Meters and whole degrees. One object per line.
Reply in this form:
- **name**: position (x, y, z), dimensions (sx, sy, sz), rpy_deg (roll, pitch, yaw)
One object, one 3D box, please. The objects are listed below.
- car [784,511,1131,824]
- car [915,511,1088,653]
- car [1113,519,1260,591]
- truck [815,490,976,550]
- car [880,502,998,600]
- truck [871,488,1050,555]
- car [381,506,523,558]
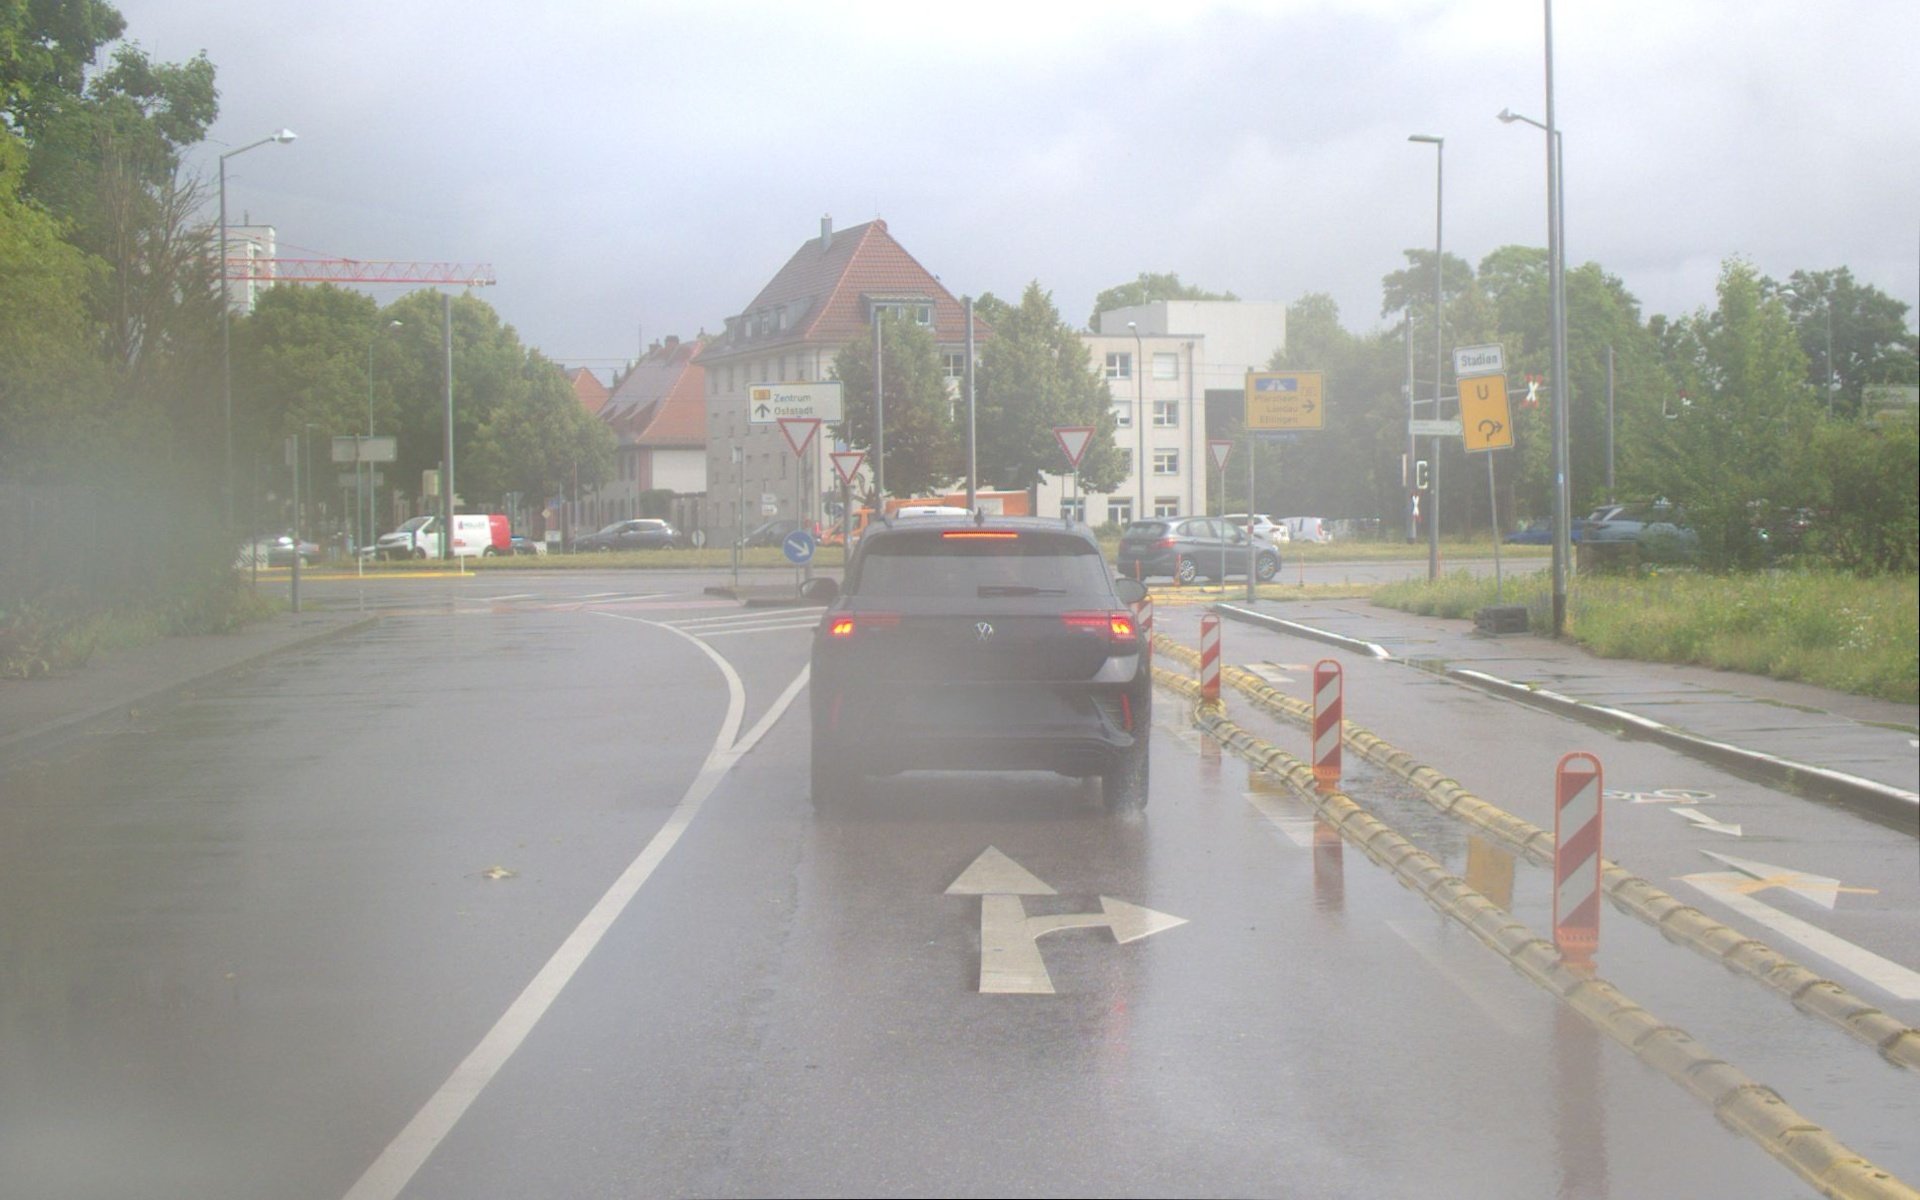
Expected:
- **car**: position (-0.105, 0.311, 19.171), dimensions (1.708, 1.568, 3.683), rpy_deg (0, 1, -3)
- **car**: position (0.414, -0.235, 38.271), dimensions (1.735, 1.509, 3.604), rpy_deg (0, 1, -2)
- **car**: position (5.315, -1.075, 80.182), dimensions (1.669, 1.639, 3.947), rpy_deg (1, 2, 34)
- **truck**: position (-2.765, -3.373, 145.483), dimensions (6.701, 2.434, 2.434), rpy_deg (-1, 1, -3)
- **car**: position (-0.373, -0.952, 65.745), dimensions (1.864, 1.803, 4.403), rpy_deg (0, 1, 5)
- **truck**: position (0.036, -3.125, 136.925), dimensions (7.066, 2.641, 2.330), rpy_deg (0, 1, 2)
- **car**: position (-18.968, -2.538, 128.538), dimensions (5.119, 1.870, 1.893), rpy_deg (-2, 2, -44)
